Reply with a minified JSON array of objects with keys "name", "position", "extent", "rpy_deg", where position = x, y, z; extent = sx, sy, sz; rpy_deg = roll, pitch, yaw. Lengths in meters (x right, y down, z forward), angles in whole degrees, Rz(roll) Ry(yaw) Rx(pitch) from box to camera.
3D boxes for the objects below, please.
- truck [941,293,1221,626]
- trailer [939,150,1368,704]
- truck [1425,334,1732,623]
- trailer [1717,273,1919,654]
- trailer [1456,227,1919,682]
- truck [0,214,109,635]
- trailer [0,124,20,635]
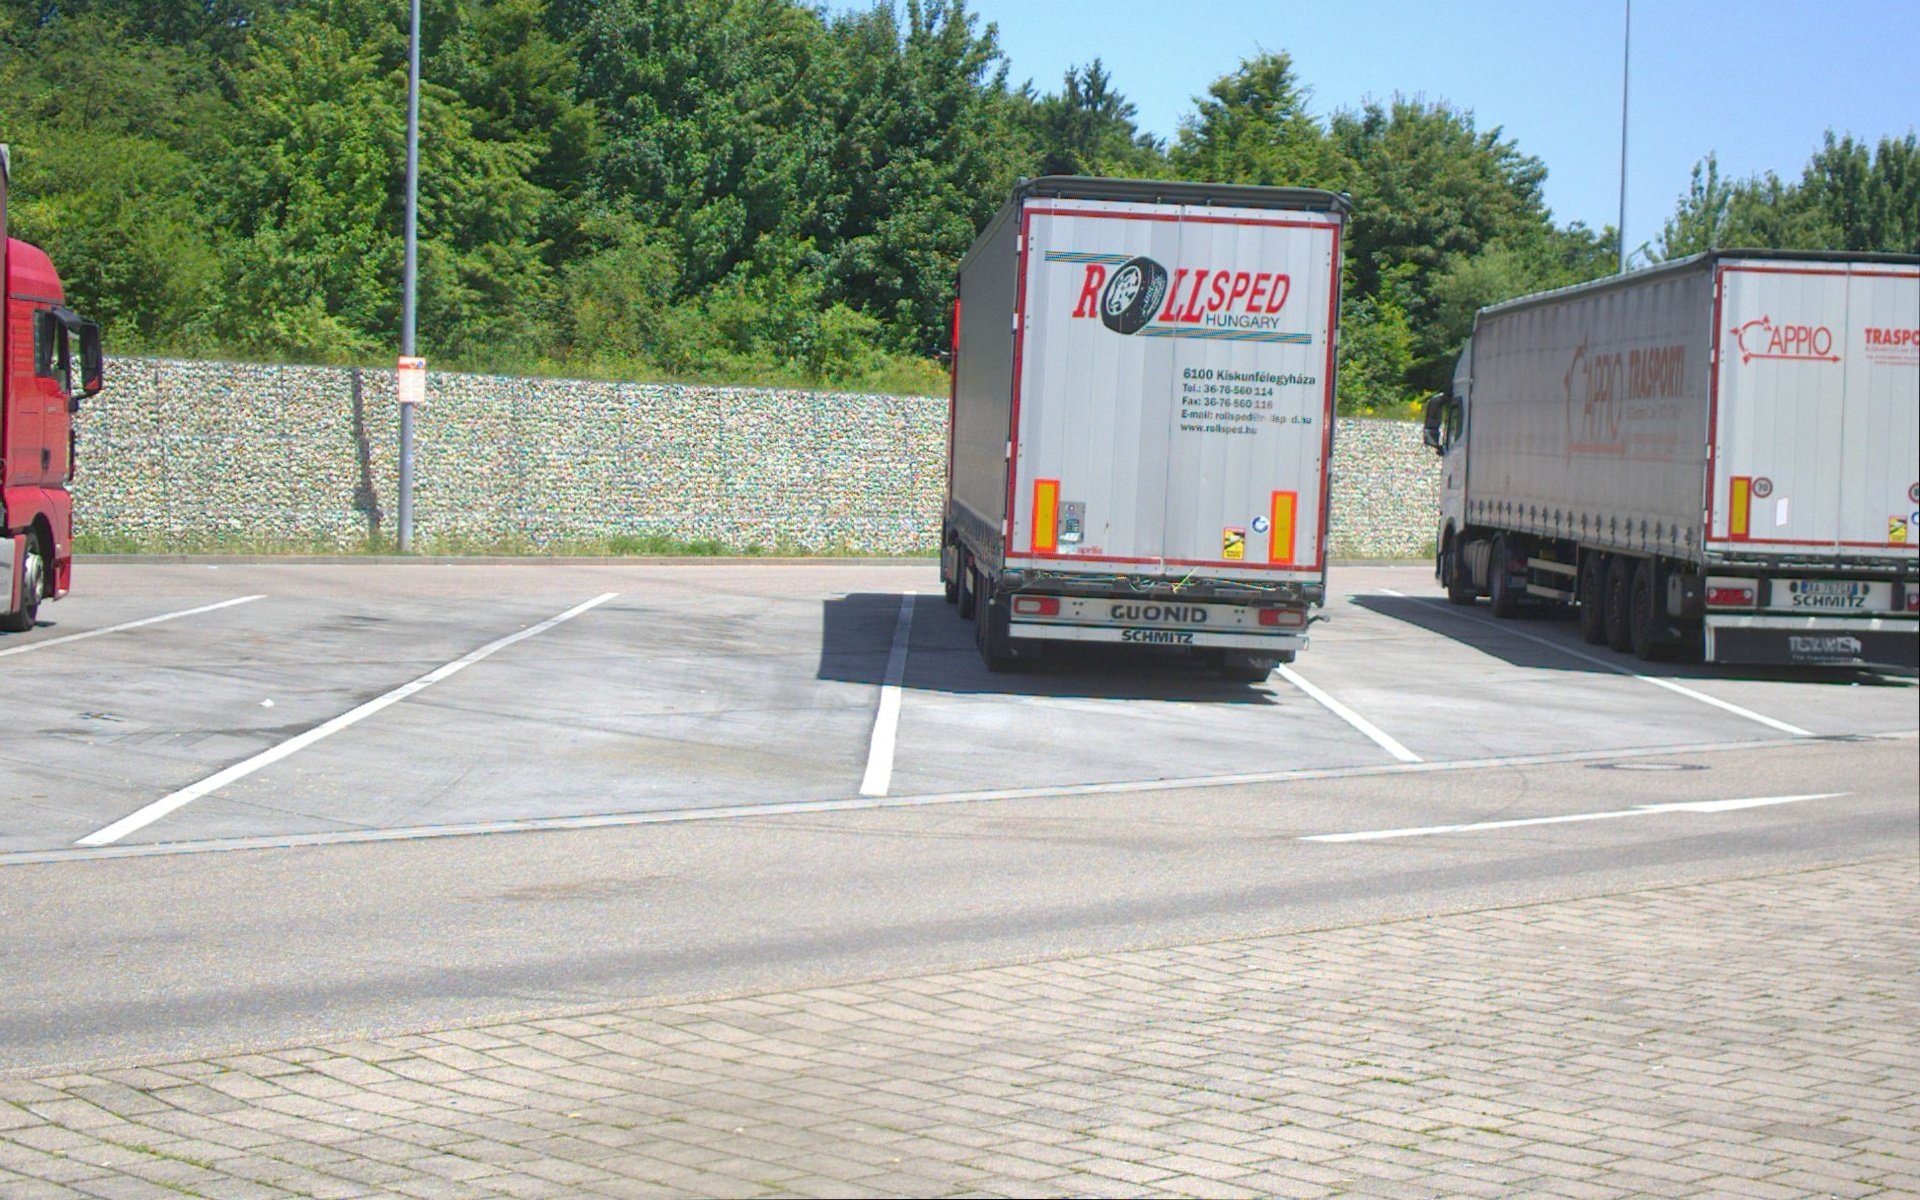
[{"name":"truck","position":[1.287,-1.631,39.802],"extent":[2.852,3.472,5.483],"rpy_deg":[2,2,-1]},{"name":"trailer","position":[1.436,-1.624,33.189],"extent":[2.906,4.118,13.725],"rpy_deg":[2,3,-1]},{"name":"truck","position":[8.059,-1.628,45.492],"extent":[2.852,3.472,5.483],"rpy_deg":[2,2,-1]},{"name":"trailer","position":[11.790,-1.535,39.432],"extent":[2.838,4.118,13.724],"rpy_deg":[2,3,-1]},{"name":"trailer","position":[8.153,-1.631,38.680],"extent":[2.838,4.118,13.724],"rpy_deg":[2,3,-1]},{"name":"truck","position":[-9.239,-1.505,28.731],"extent":[2.852,3.416,5.483],"rpy_deg":[2,2,-1]},{"name":"trailer","position":[-9.149,-1.489,21.292],"extent":[2.906,4.118,13.725],"rpy_deg":[2,3,-1]}]
